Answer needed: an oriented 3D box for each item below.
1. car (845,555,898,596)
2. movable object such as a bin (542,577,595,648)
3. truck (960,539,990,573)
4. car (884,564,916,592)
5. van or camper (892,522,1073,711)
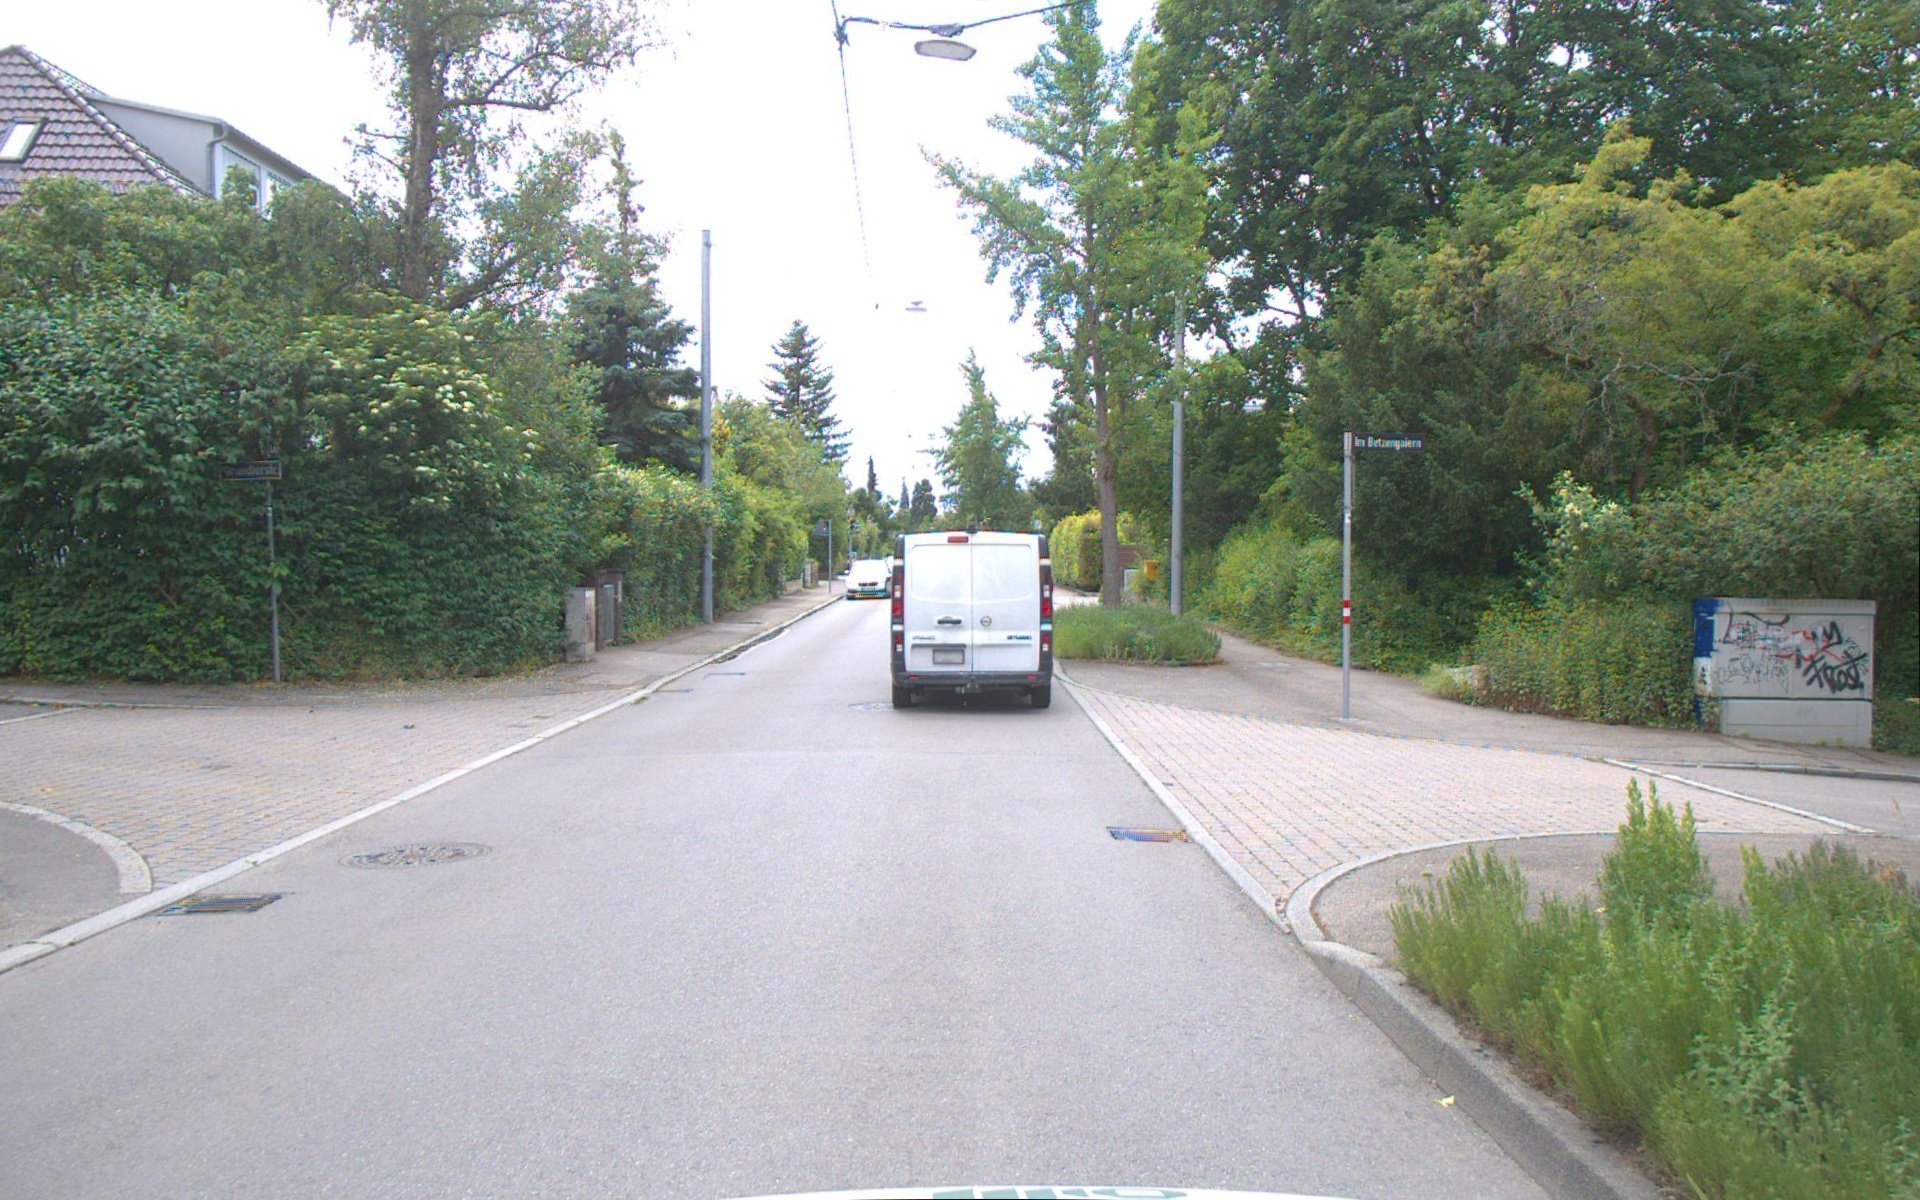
[{"bbox_3d":[-3.385,-0.970,63.893,1.768,1.456,4.301,-2,1,0],"label":"car"},{"bbox_3d":[-6.589,0.197,27.866,0.713,1.136,0.585,3,1,-4],"label":"movable object such as a bin"},{"bbox_3d":[1.138,-3.403,128.804,2.143,2.514,7.430,2,1,-1],"label":"truck"},{"bbox_3d":[-3.425,-1.274,94.442,1.769,1.456,4.117,-2,1,-2],"label":"car"},{"bbox_3d":[0.186,0.167,20.171,1.900,1.988,4.764,1,0,-2],"label":"van or camper"}]
